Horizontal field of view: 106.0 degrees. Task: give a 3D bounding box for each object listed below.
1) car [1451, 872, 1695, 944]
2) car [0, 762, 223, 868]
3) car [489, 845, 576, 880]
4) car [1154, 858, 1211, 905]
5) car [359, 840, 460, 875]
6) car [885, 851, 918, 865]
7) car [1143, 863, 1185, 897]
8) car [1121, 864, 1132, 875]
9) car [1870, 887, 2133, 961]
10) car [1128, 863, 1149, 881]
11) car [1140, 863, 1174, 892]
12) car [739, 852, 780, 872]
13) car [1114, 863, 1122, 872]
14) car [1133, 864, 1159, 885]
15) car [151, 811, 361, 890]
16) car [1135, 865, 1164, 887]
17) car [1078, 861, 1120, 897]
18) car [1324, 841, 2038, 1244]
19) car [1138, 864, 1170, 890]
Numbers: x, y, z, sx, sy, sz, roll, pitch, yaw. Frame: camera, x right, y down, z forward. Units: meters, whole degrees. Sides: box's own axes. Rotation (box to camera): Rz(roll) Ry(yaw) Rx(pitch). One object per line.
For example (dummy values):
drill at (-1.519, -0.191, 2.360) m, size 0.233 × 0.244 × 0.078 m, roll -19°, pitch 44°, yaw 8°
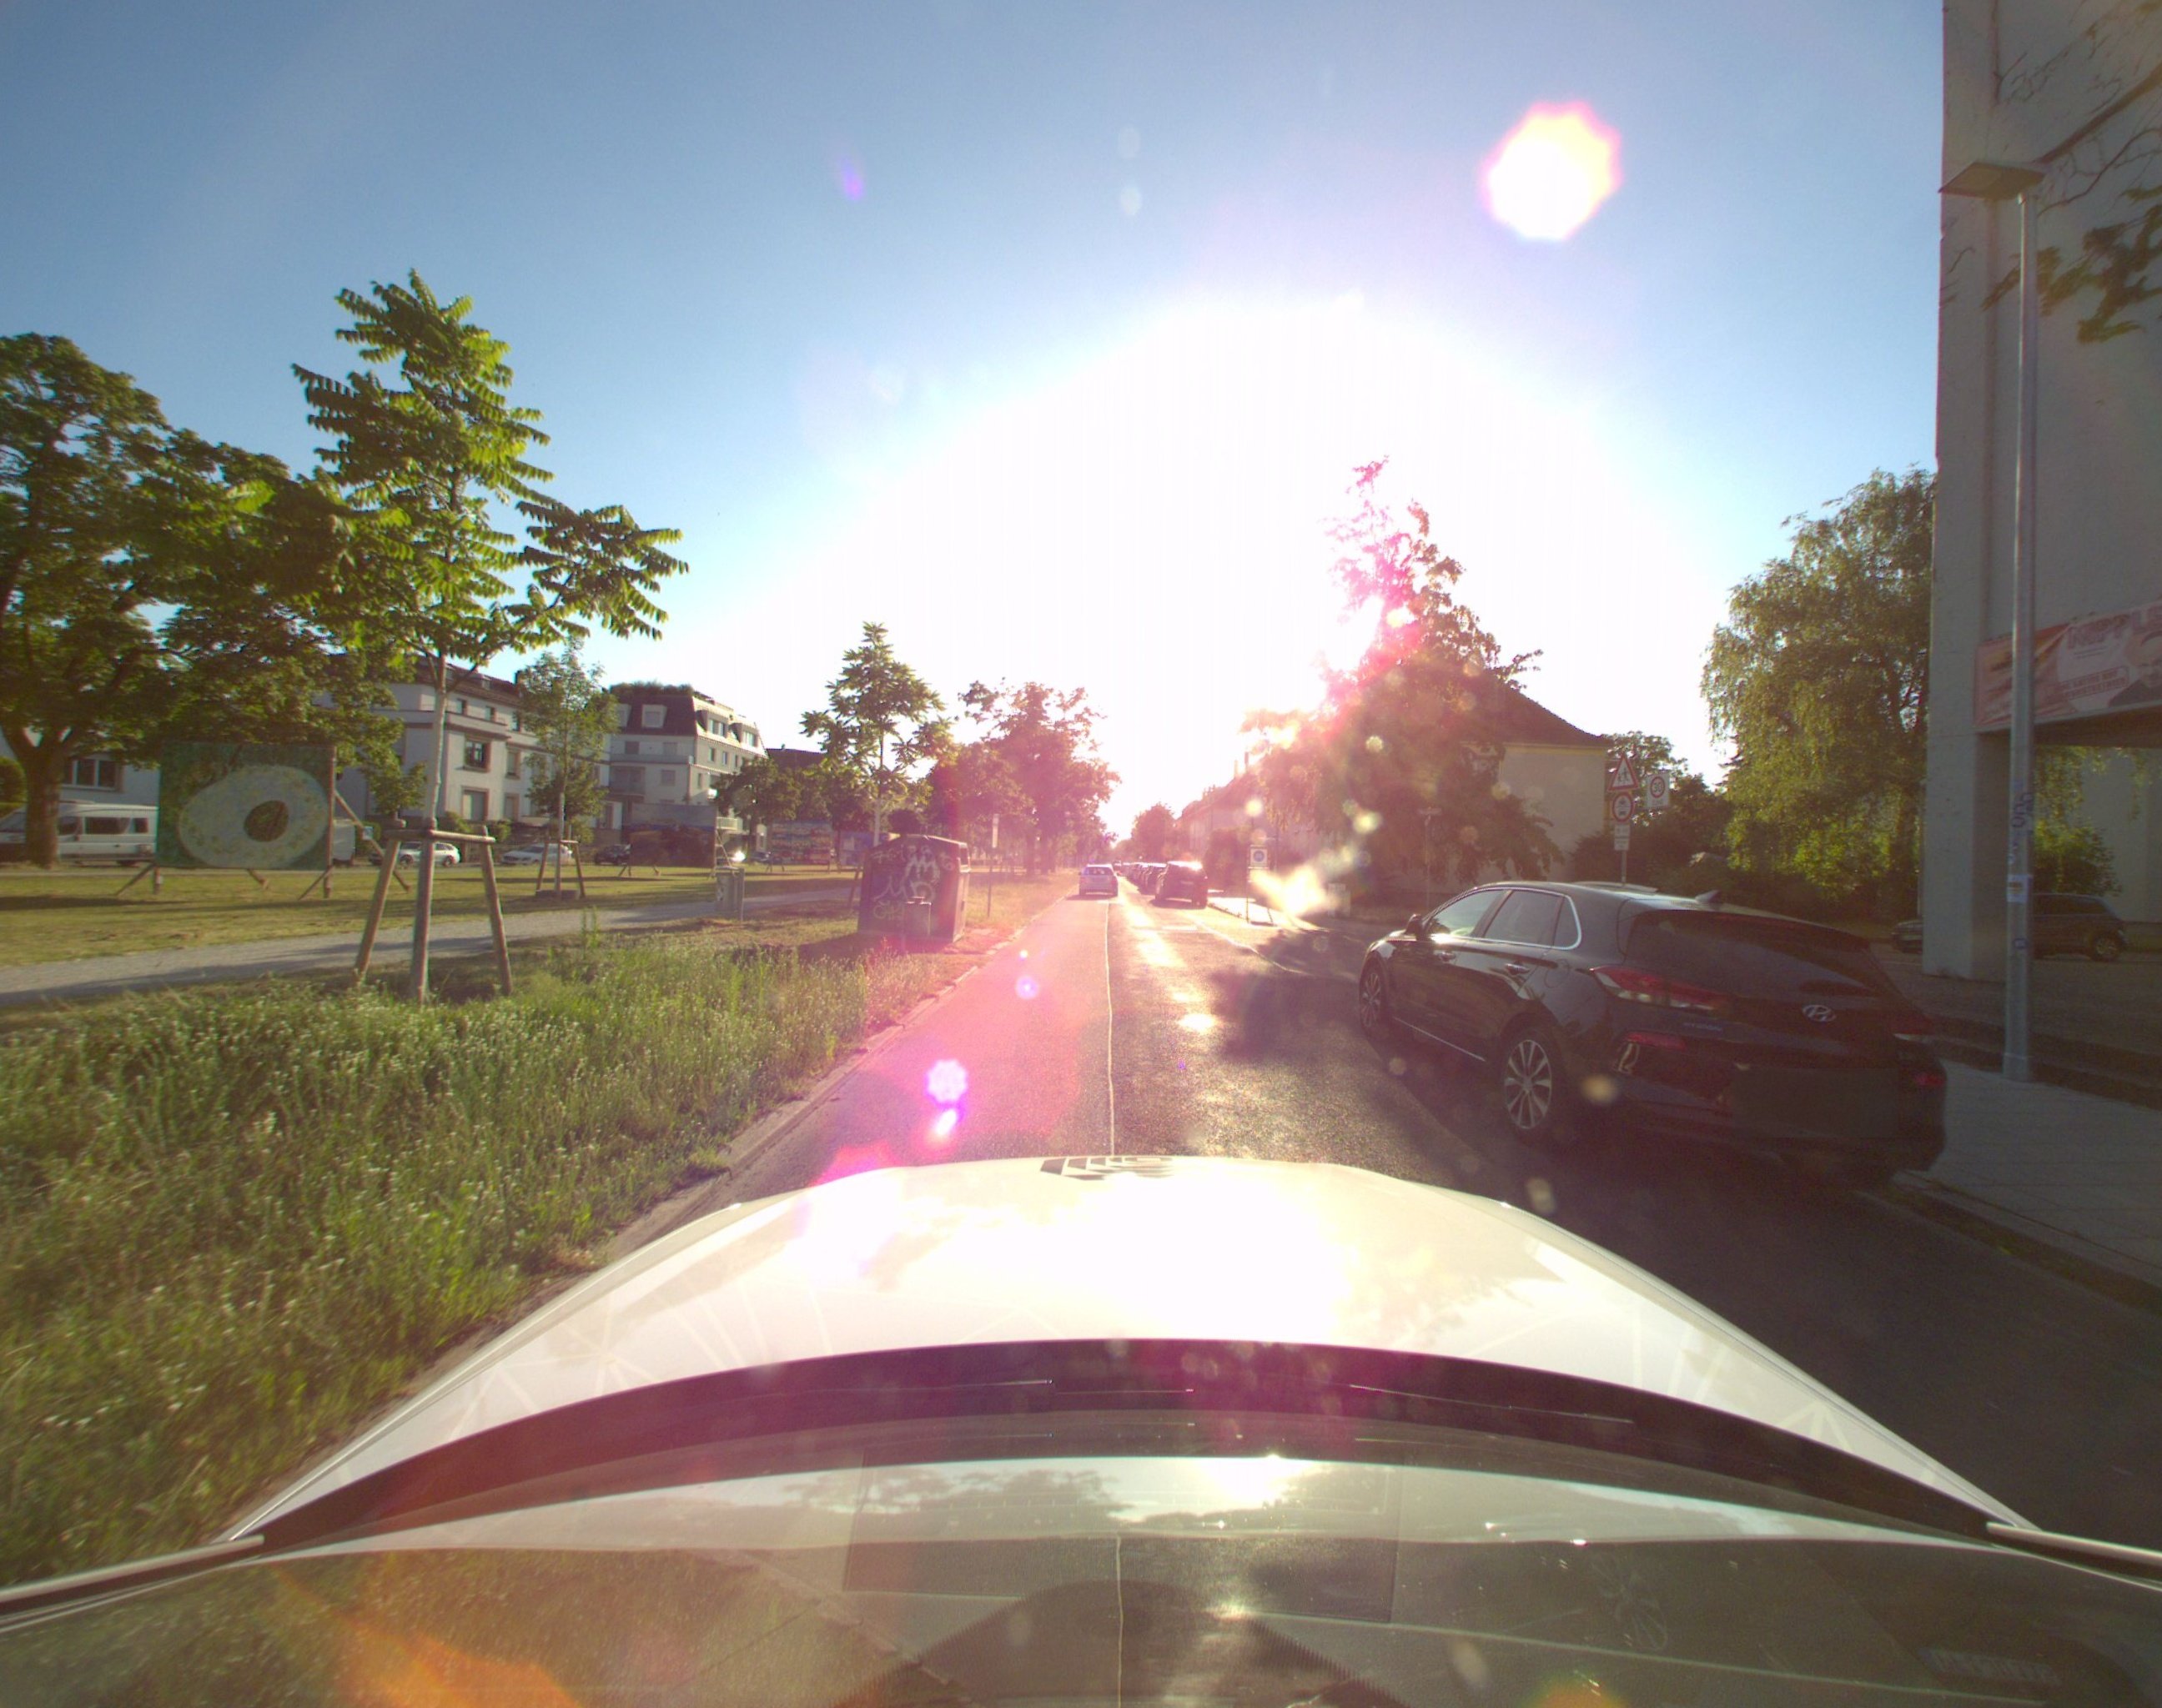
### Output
car at (11.996, 1.340, 20.124) m, size 4.829 × 1.486 × 2.002 m, roll 2°, pitch -4°, yaw 1°
car at (-38.364, -1.313, 31.821) m, size 2.294 × 3.559 × 6.767 m, roll -2°, pitch -2°, yaw 2°
car at (-32.340, 0.531, 48.180) m, size 1.826 × 1.899 × 4.645 m, roll -2°, pitch -2°, yaw 3°
car at (4.198, 1.126, 34.492) m, size 1.826 × 1.732 × 5.033 m, roll 4°, pitch -1°, yaw 1°
car at (-38.095, 0.256, 46.357) m, size 1.723 × 1.854 × 4.715 m, roll -2°, pitch -2°, yaw 2°
car at (-36.321, 0.770, 164.909) m, size 6.331 × 2.720 × 1.984 m, roll 2°, pitch -1°, yaw -29°
car at (4.628, 1.421, 46.184) m, size 1.926 × 1.720 × 4.622 m, roll 4°, pitch 0°, yaw 2°
car at (7.417, 2.525, 132.473) m, size 1.715 × 1.597 × 4.002 m, roll 1°, pitch -2°, yaw 2°
car at (22.553, 1.681, 20.114) m, size 4.097 × 1.510 × 2.002 m, roll 2°, pitch -1°, yaw 4°
car at (5.536, 1.758, 78.440) m, size 1.770 × 1.643 × 4.757 m, roll 1°, pitch -1°, yaw 1°
car at (4.777, 1.443, 51.709) m, size 1.847 × 1.657 × 4.822 m, roll 3°, pitch 0°, yaw 2°
car at (-31.098, 0.796, 78.906) m, size 1.921 × 1.828 × 4.693 m, roll -2°, pitch -2°, yaw 2°
car at (8.653, 3.050, 190.814) m, size 1.981 × 2.023 × 4.002 m, roll 2°, pitch -1°, yaw 2°
car at (5.341, 1.657, 67.271) m, size 1.719 × 1.561 × 4.414 m, roll 2°, pitch -1°, yaw -1°
car at (-32.589, -0.046, 32.554) m, size 2.252 × 2.826 × 5.873 m, roll -2°, pitch -2°, yaw 2°
car at (5.166, 1.634, 62.098) m, size 1.985 × 1.462 × 4.565 m, roll 3°, pitch -1°, yaw 3°
car at (0.871, 1.112, 37.678) m, size 1.816 × 1.566 × 4.002 m, roll 0°, pitch 0°, yaw 2°
car at (3.363, 0.850, 5.951) m, size 1.815 × 1.561 × 4.624 m, roll 8°, pitch 0°, yaw 3°
car at (5.102, 1.616, 57.146) m, size 1.722 × 1.548 × 4.206 m, roll 6°, pitch -1°, yaw 0°
